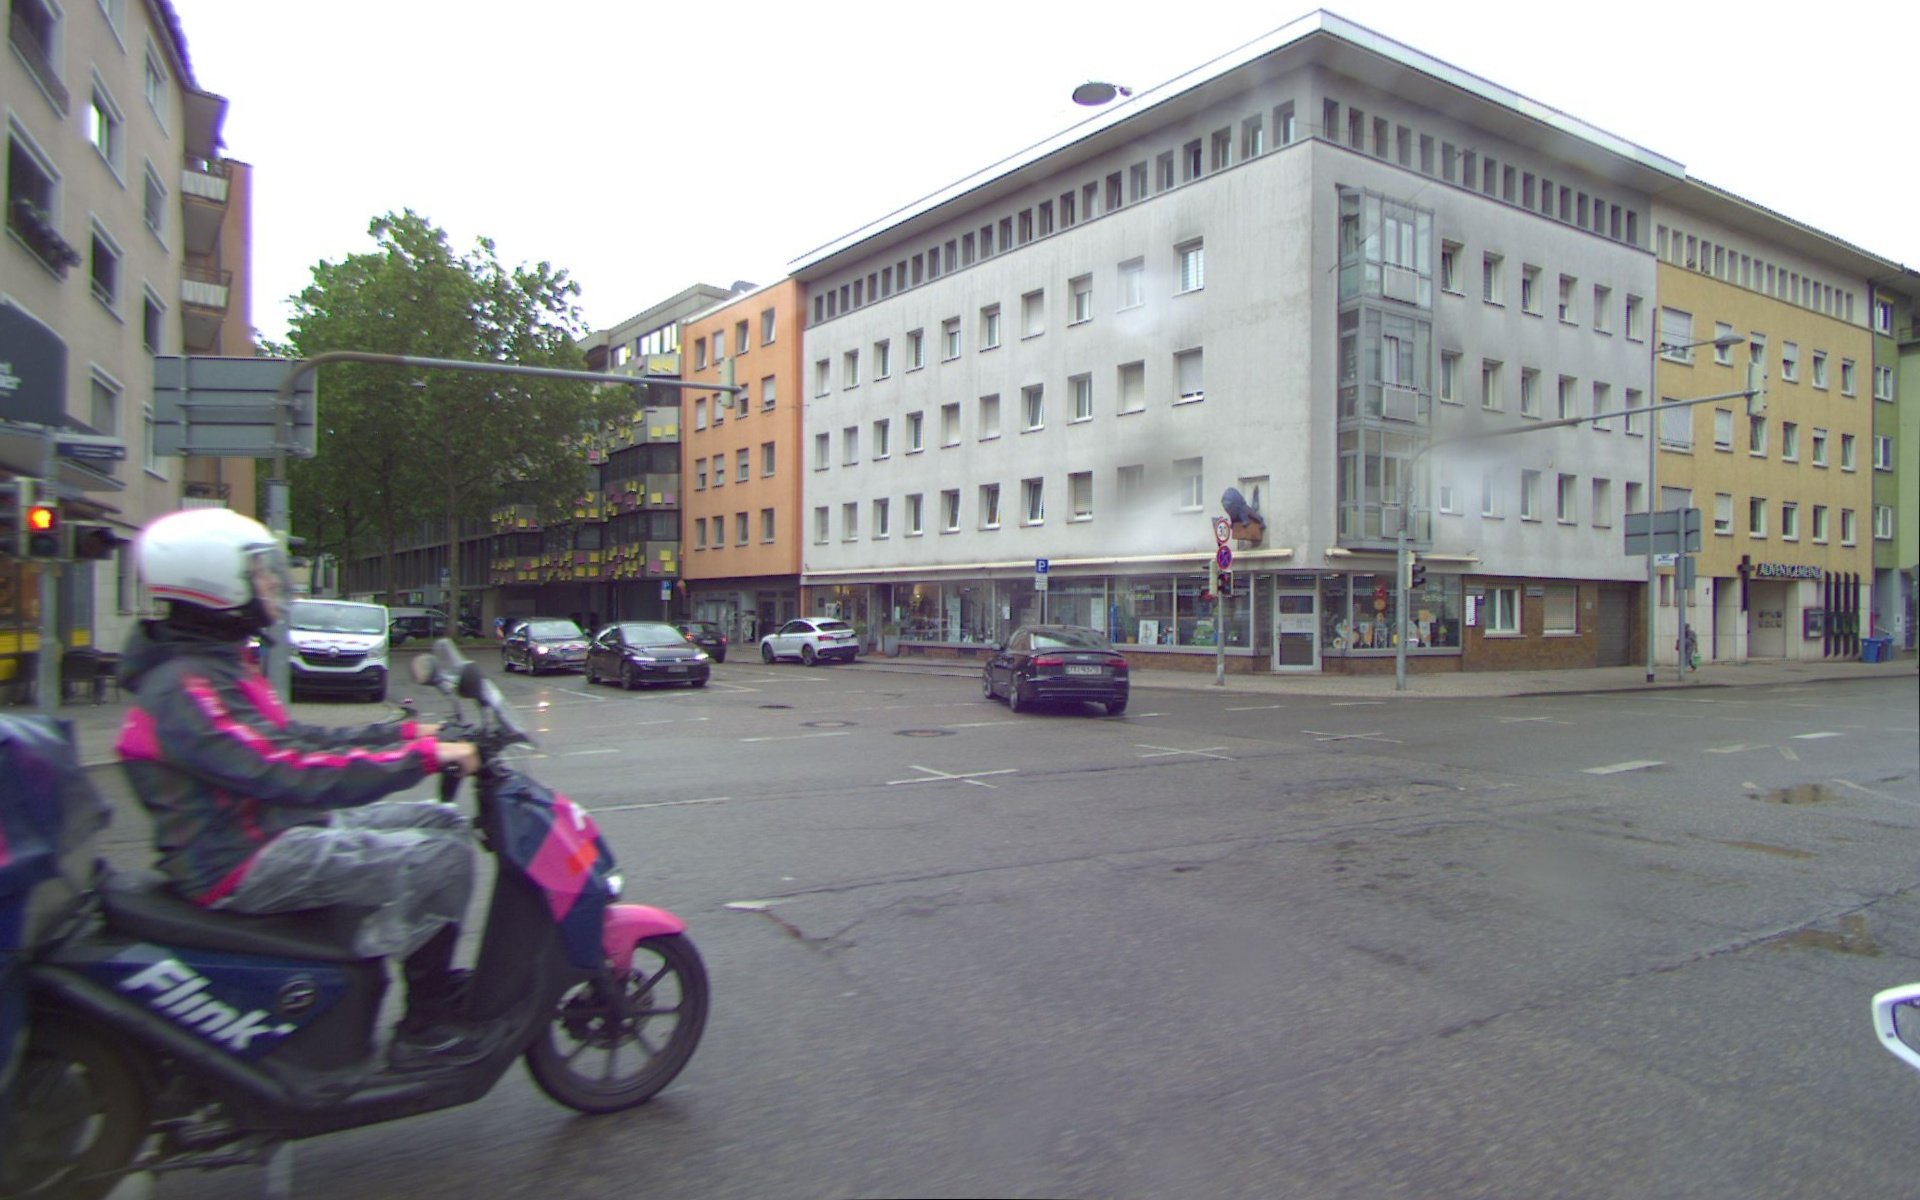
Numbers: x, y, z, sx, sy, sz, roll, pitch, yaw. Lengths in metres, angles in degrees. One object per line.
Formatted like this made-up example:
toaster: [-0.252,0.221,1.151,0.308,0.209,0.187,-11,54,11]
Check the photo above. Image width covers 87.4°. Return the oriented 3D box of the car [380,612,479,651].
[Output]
car: [-25.923,1.506,49.135,3.966,1.684,1.869,-1,2,-40]

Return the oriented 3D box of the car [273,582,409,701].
car: [-12.735,0.823,20.642,2.025,2.130,4.823,4,-3,-33]

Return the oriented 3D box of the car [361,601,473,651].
car: [-27.685,1.271,51.298,4.729,2.337,1.869,-1,2,-40]

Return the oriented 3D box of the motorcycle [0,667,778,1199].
motorcycle: [-1.567,0.805,2.609,2.081,1.207,0.583,2,0,-35]

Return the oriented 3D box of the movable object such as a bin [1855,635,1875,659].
movable object such as a bin: [35.918,1.854,39.846,0.496,0.942,0.452,1,0,-29]

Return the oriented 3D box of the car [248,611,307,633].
car: [-57.827,1.830,85.142,3.968,1.684,1.868,-1,2,-41]

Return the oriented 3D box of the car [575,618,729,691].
car: [-7.064,1.152,22.779,2.027,1.394,4.294,0,0,-37]

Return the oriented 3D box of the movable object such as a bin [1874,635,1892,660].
movable object such as a bin: [37.726,1.948,41.071,0.538,1.020,0.397,1,0,-29]

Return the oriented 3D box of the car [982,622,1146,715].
car: [1.652,1.123,17.578,1.962,1.406,4.496,1,-2,-6]

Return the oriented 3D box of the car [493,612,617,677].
car: [-11.341,1.152,27.950,2.028,1.611,4.605,0,0,-38]

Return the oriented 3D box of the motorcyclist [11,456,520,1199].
motorcyclist: [-1.664,0.492,2.509,0.856,1.513,0.909,2,0,-34]

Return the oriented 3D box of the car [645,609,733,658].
car: [-9.841,1.209,36.292,1.683,1.648,3.957,2,-3,-38]

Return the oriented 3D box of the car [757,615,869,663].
car: [-5.439,1.392,36.798,2.031,1.653,4.287,2,-2,-41]

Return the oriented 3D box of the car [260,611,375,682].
car: [-16.213,1.136,25.263,2.028,1.575,4.294,4,-3,-37]

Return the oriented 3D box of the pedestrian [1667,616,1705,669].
pedestrian: [22.612,1.314,31.274,0.644,1.602,0.684,1,2,-29]

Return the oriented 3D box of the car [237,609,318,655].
car: [-24.616,1.131,36.178,1.828,1.510,4.210,5,-3,-41]
